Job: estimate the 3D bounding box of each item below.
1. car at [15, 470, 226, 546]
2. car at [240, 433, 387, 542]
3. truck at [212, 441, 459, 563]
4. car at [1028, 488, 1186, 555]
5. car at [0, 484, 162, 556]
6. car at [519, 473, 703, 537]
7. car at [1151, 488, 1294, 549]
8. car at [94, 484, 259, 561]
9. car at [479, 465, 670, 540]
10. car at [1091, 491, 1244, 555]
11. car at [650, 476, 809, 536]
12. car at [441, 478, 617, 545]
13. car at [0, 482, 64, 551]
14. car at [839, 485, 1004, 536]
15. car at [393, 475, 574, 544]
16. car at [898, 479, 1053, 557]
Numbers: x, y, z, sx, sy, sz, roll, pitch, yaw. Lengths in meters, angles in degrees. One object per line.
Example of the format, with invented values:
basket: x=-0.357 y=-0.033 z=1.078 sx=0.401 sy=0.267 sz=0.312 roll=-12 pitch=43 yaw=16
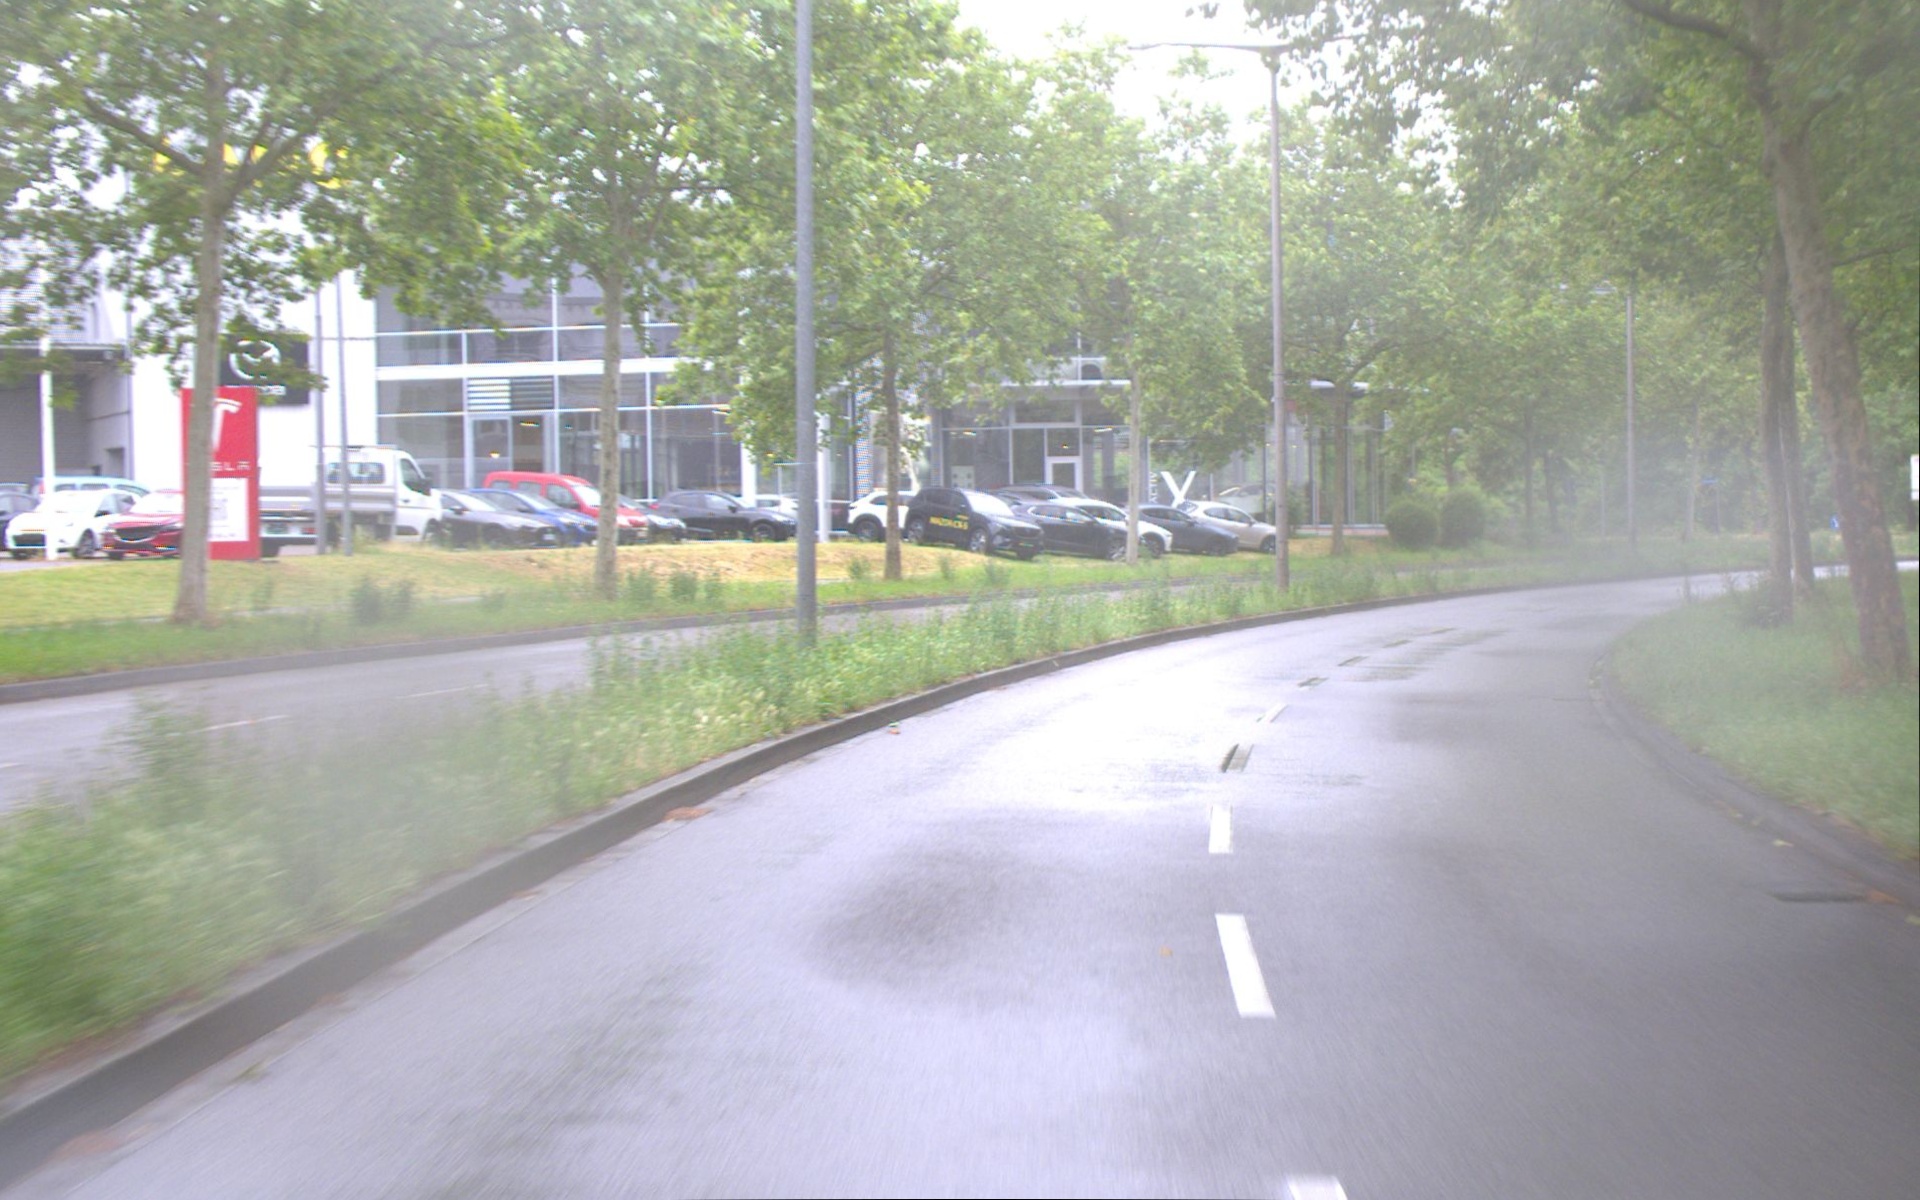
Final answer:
car: x=-20.383 y=-2.225 z=83.535 sx=4.638 sy=1.758 sz=1.821 roll=0 pitch=2 yaw=-32
car: x=-16.968 y=-2.972 z=90.020 sx=2.164 sy=2.743 sz=5.340 roll=0 pitch=2 yaw=-29
truck: x=-12.988 y=-2.104 z=71.973 sx=2.249 sy=2.336 sz=6.189 roll=3 pitch=4 yaw=20
car: x=4.314 y=-2.303 z=100.879 sx=4.115 sy=1.473 sz=1.849 roll=5 pitch=5 yaw=-20
car: x=-18.891 y=-1.749 z=73.854 sx=1.763 sy=1.392 sz=4.155 roll=1 pitch=3 yaw=13
car: x=-8.481 y=-2.322 z=83.581 sx=4.000 sy=1.352 sz=1.846 roll=3 pitch=4 yaw=19
car: x=8.255 y=-2.560 z=108.188 sx=3.986 sy=1.470 sz=1.786 roll=4 pitch=5 yaw=-25
car: x=-16.449 y=-1.650 z=72.364 sx=1.763 sy=1.462 sz=4.155 roll=1 pitch=3 yaw=13
car: x=-9.047 y=-2.301 z=80.751 sx=4.000 sy=1.551 sz=1.846 roll=3 pitch=4 yaw=19
car: x=6.300 y=-2.336 z=104.360 sx=4.115 sy=1.417 sz=1.849 roll=5 pitch=5 yaw=-17
car: x=-6.029 y=-2.476 z=90.309 sx=3.996 sy=1.352 sz=1.848 roll=2 pitch=3 yaw=1
car: x=-9.801 y=-2.029 z=78.186 sx=3.526 sy=1.322 sz=1.767 roll=3 pitch=4 yaw=19
car: x=-21.187 y=-1.806 z=74.394 sx=1.763 sy=1.392 sz=4.155 roll=1 pitch=3 yaw=13
car: x=-1.102 y=-2.610 z=99.957 sx=4.425 sy=1.468 sz=1.918 roll=1 pitch=2 yaw=17
car: x=-10.536 y=-2.020 z=76.013 sx=3.526 sy=1.322 sz=1.767 roll=3 pitch=4 yaw=19
car: x=0.395 y=-2.279 z=94.837 sx=1.842 sy=1.551 sz=4.437 roll=3 pitch=6 yaw=-37
